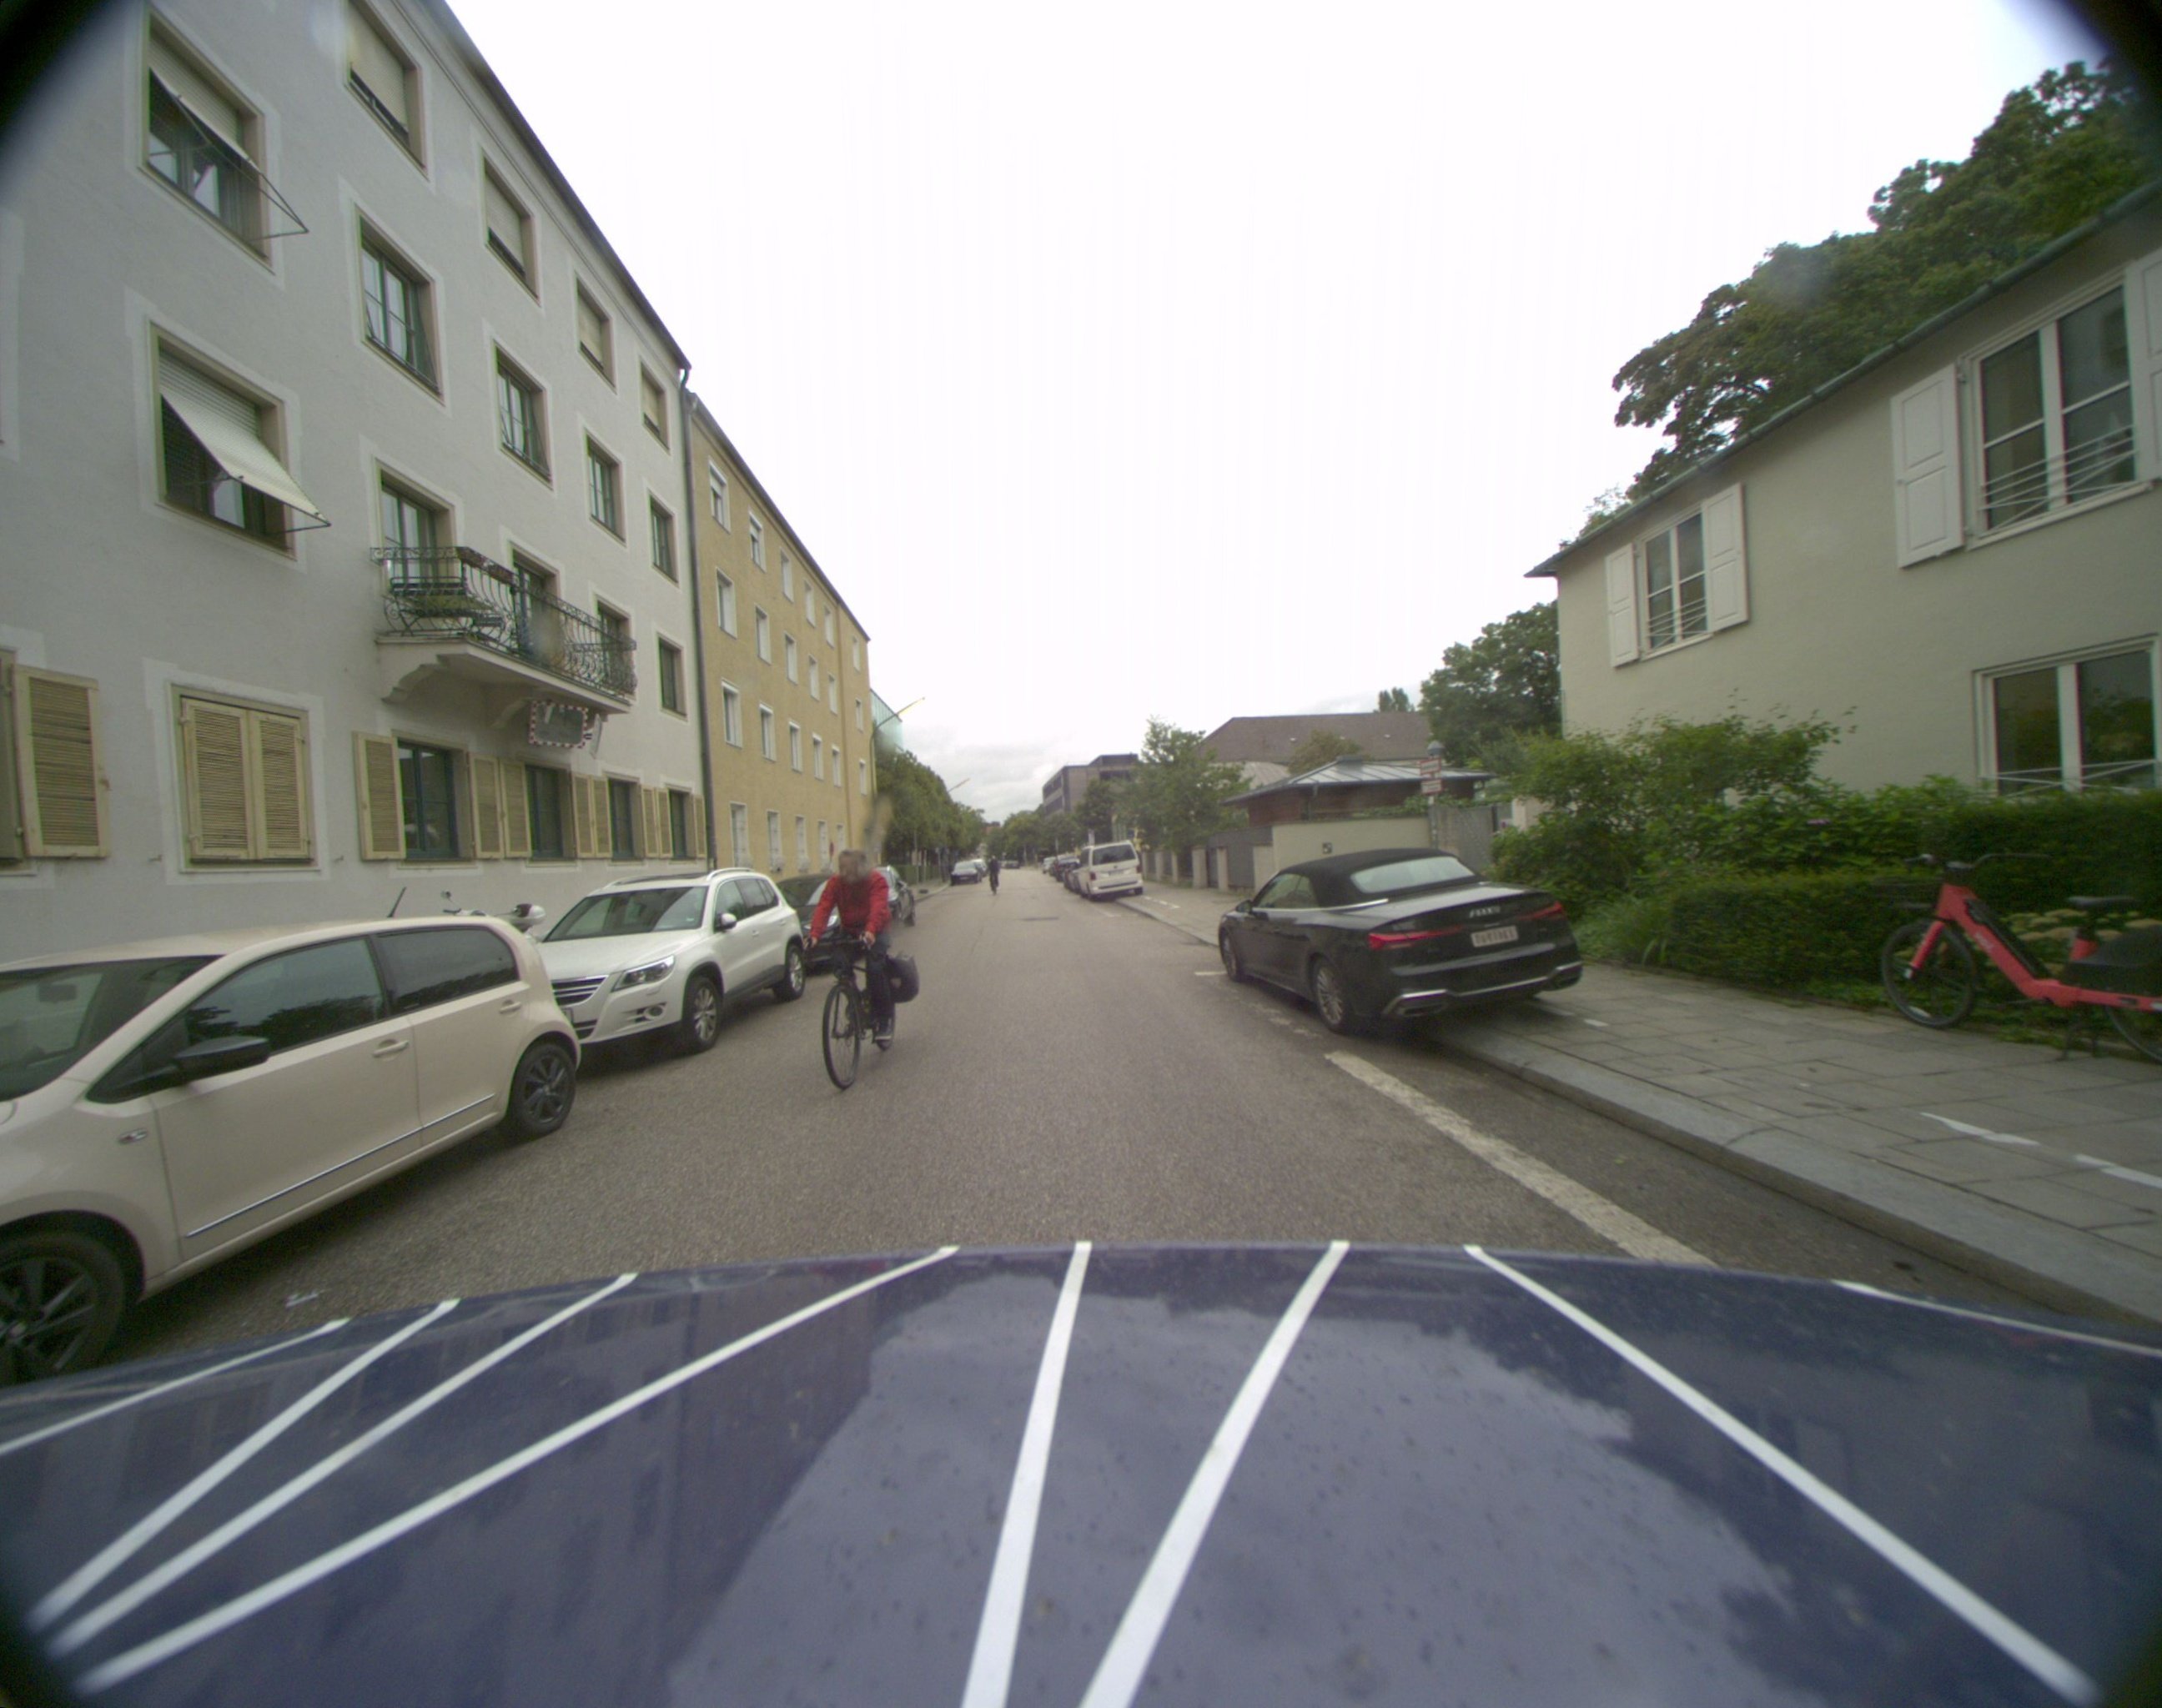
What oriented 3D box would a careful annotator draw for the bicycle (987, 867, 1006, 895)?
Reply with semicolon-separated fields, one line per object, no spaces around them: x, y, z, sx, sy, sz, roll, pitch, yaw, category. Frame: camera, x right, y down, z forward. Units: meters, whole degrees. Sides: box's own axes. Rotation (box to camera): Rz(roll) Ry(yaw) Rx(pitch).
-3.926;1.245;35.453;0.720;1.199;1.801;-5;-1;-4;bicycle

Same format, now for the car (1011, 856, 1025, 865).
-10.830;1.117;130.027;1.930;1.390;4.483;-3;0;-9;car

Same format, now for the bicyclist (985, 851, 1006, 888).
-3.972;0.734;35.469;0.780;1.657;1.034;-5;0;-4;bicyclist

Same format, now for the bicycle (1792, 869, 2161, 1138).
5.159;0.684;4.159;0.651;1.124;2.048;-3;0;3;bicycle

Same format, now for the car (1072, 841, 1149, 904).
0.971;0.623;28.362;1.972;1.979;5.148;-5;0;-6;car

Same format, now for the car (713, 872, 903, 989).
-4.510;1.176;13.347;1.843;1.522;4.414;-3;0;-3;car

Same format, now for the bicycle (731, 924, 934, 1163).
-1.641;1.201;5.436;0.674;1.135;2.011;-5;1;1;bicycle

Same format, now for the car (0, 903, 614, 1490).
-4.203;1.231;3.425;1.775;1.537;3.710;-8;1;-2;car

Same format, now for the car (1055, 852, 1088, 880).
-0.668;0.757;50.230;1.850;1.598;4.741;-5;0;-3;car

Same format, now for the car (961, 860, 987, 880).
-9.052;1.291;64.715;1.999;1.451;4.954;-5;0;-7;car

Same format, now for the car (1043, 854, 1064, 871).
-2.699;0.831;74.778;1.730;1.483;4.459;-5;0;-5;car

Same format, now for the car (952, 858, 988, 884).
-7.991;1.205;55.236;1.999;1.621;5.098;-5;0;-3;car

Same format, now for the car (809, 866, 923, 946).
-5.112;1.148;18.754;1.866;1.568;4.896;-3;0;-6;car

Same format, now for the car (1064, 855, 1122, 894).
0.466;0.870;34.314;1.893;1.535;4.693;-4;0;-7;car

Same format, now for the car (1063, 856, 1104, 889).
0.067;0.905;39.387;1.864;1.535;4.186;-2;0;-3;car

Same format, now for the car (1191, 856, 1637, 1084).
2.675;0.788;7.662;1.813;1.394;4.921;-5;0;-6;car

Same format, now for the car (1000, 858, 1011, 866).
-15.870;1.756;159.034;2.000;1.510;3.997;-5;0;-9;car

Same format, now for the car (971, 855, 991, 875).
-10.770;1.160;81.851;1.790;1.884;4.572;-5;0;-5;car

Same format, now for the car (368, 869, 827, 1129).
-4.413;1.139;8.041;1.999;1.697;4.532;-5;0;-3;car

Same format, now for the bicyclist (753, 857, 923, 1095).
-1.671;0.792;5.407;0.756;1.474;0.981;-5;1;1;bicyclist

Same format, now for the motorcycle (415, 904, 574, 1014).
-8.258;1.424;10.844;0.734;1.232;2.006;-5;1;-5;motorcycle
